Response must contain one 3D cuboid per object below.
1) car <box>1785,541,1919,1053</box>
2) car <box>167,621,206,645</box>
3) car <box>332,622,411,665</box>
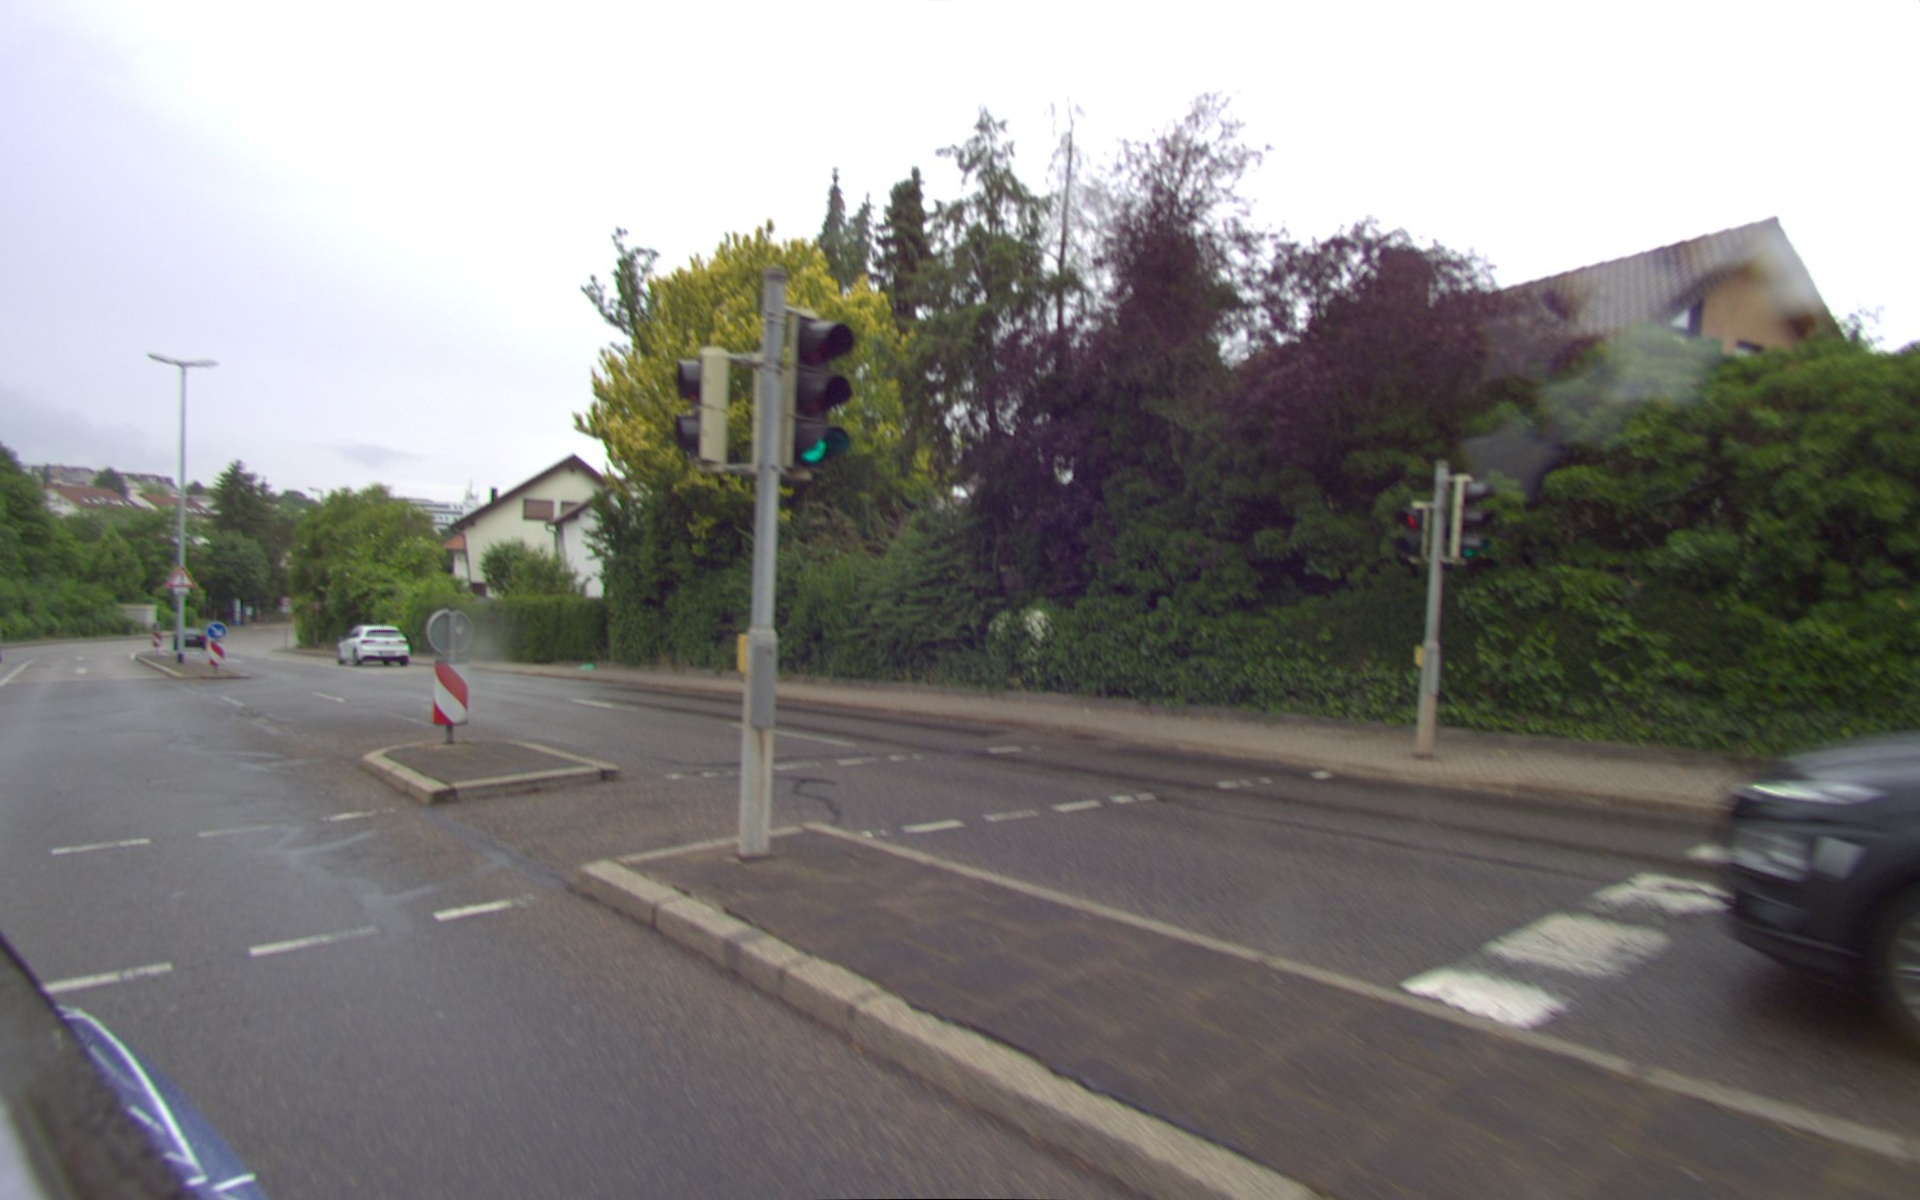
[{"bbox_3d":[4.777,0.610,2.577,2.000,1.575,3.882,2,-2,-42],"label":"car"},{"bbox_3d":[-49.958,2.118,65.316,1.839,1.504,3.840,2,-3,-40],"label":"car"},{"bbox_3d":[-21.846,1.611,37.482,1.706,1.497,4.162,3,-4,-41],"label":"car"}]
